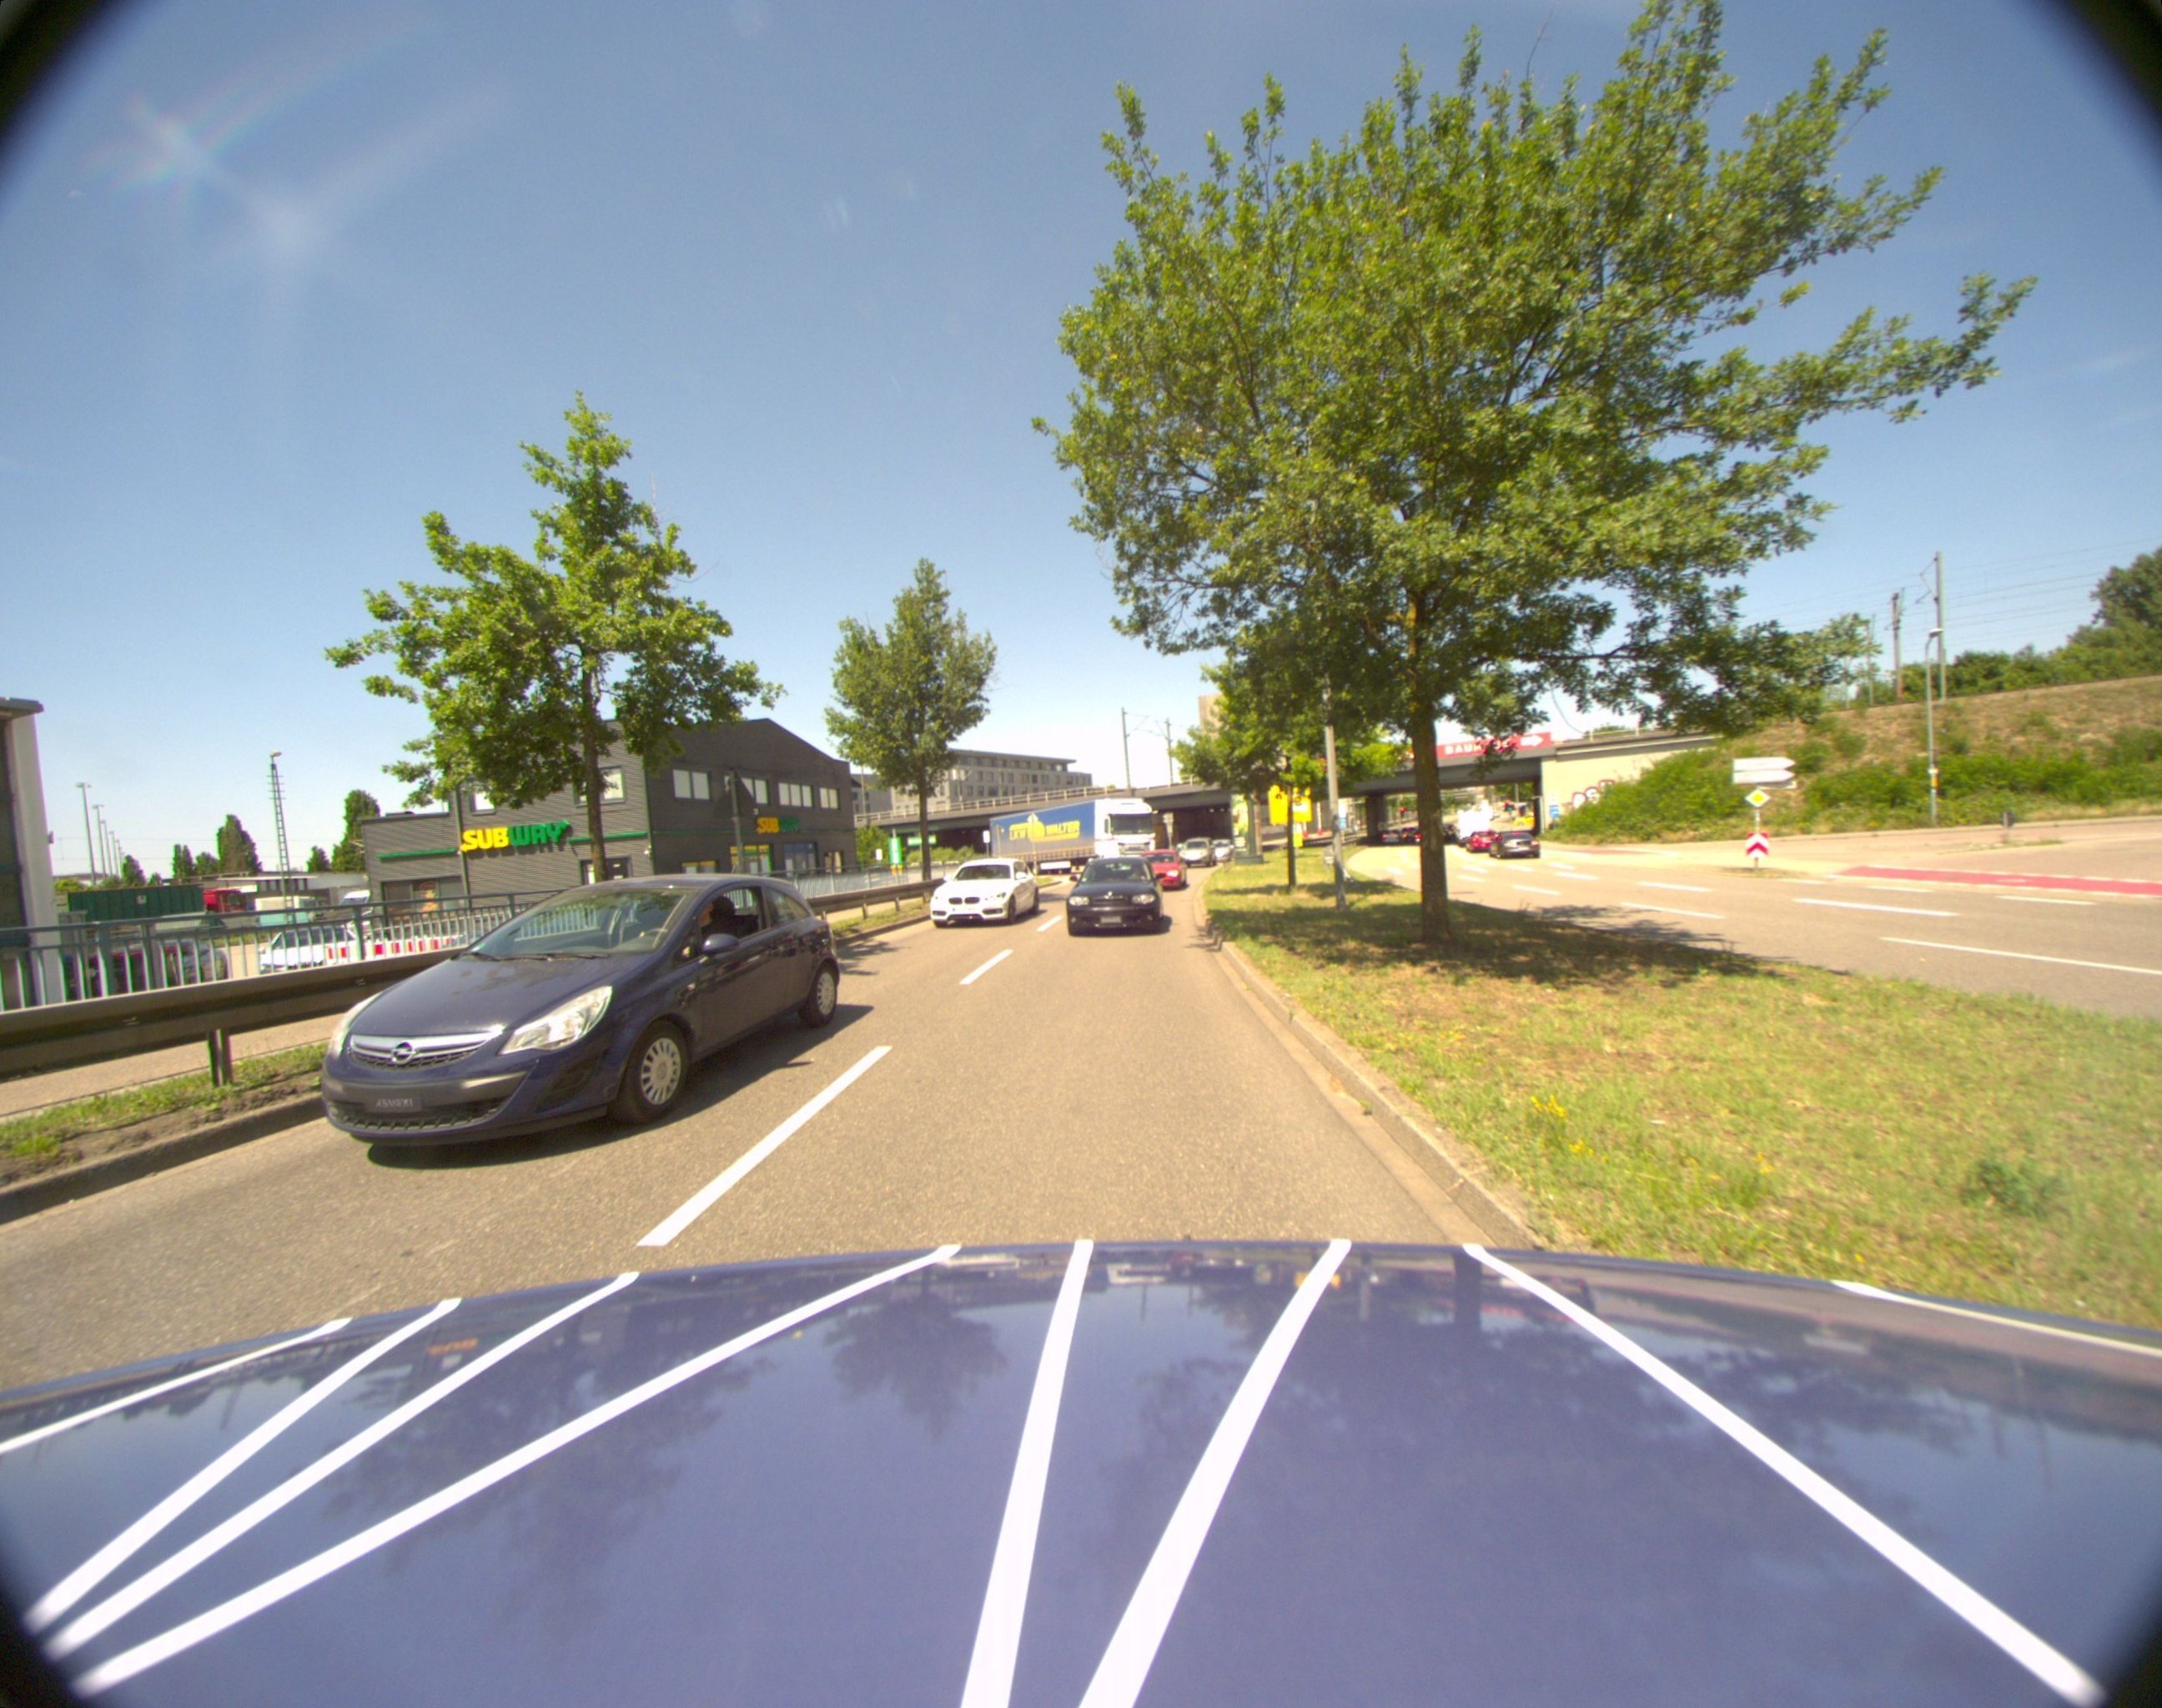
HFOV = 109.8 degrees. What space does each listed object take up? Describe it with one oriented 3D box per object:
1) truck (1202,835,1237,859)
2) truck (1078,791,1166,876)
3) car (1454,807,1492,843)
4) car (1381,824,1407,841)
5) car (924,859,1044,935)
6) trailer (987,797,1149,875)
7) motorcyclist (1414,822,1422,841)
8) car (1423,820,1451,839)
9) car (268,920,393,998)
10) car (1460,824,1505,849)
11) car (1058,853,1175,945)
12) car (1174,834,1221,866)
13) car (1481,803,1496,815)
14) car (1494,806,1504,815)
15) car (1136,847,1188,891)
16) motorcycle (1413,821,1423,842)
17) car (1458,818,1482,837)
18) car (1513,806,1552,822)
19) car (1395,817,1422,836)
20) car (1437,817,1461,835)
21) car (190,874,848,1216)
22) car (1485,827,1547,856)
[{"bbox_3d":[9.722,-0.521,52.954,1.729,1.493,4.004,-3,2,19],"label":"truck"},{"bbox_3d":[2.025,-1.043,40.427,2.578,4.078,5.753,-4,1,-18],"label":"truck"},{"bbox_3d":[29.720,-2.132,57.740,2.096,2.486,5.818,-2,0,24],"label":"car"},{"bbox_3d":[28.799,-1.994,69.903,1.635,1.395,4.228,-1,2,30],"label":"car"},{"bbox_3d":[-2.128,0.918,17.880,1.761,1.435,4.054,-1,2,8],"label":"car"},{"bbox_3d":[-1.327,-0.868,46.970,2.504,4.067,13.872,-5,1,-35],"label":"trailer"},{"bbox_3d":[28.260,-1.892,63.715,0.587,1.617,0.563,-2,2,26],"label":"motorcyclist"},{"bbox_3d":[31.311,-2.150,66.764,1.635,1.558,4.080,-1,1,34],"label":"car"},{"bbox_3d":[-19.457,2.602,19.724,5.069,1.350,2.003,-2,2,45],"label":"car"},{"bbox_3d":[25.555,-1.136,48.493,1.833,1.429,4.530,-3,2,20],"label":"car"},{"bbox_3d":[0.848,0.789,15.179,1.680,1.409,4.058,-3,2,11],"label":"car"},{"bbox_3d":[7.047,-0.248,45.610,1.843,1.686,3.704,-2,2,23],"label":"car"},{"bbox_3d":[80.205,-8.895,149.573,1.995,2.091,6.393,-2,2,32],"label":"car"},{"bbox_3d":[92.472,-9.601,167.995,1.703,2.002,4.006,-2,2,31],"label":"car"},{"bbox_3d":[2.997,0.488,27.462,1.645,1.391,4.054,-1,2,9],"label":"car"},{"bbox_3d":[28.310,-1.918,63.832,0.598,1.669,2.428,-2,2,25],"label":"motorcycle"},{"bbox_3d":[37.431,-2.546,73.081,1.773,1.658,4.021,-2,1,31],"label":"car"},{"bbox_3d":[60.930,-5.346,102.566,4.308,1.849,1.876,-2,2,40],"label":"car"},{"bbox_3d":[34.963,-2.927,81.109,1.903,1.849,4.006,-2,2,33],"label":"car"},{"bbox_3d":[41.280,-3.168,85.190,1.903,1.849,4.006,-2,2,33],"label":"car"},{"bbox_3d":[-3.305,0.980,5.574,1.650,1.436,3.892,-3,1,4],"label":"car"},{"bbox_3d":[22.992,-0.693,40.312,1.812,1.326,4.573,-3,2,17],"label":"car"}]
